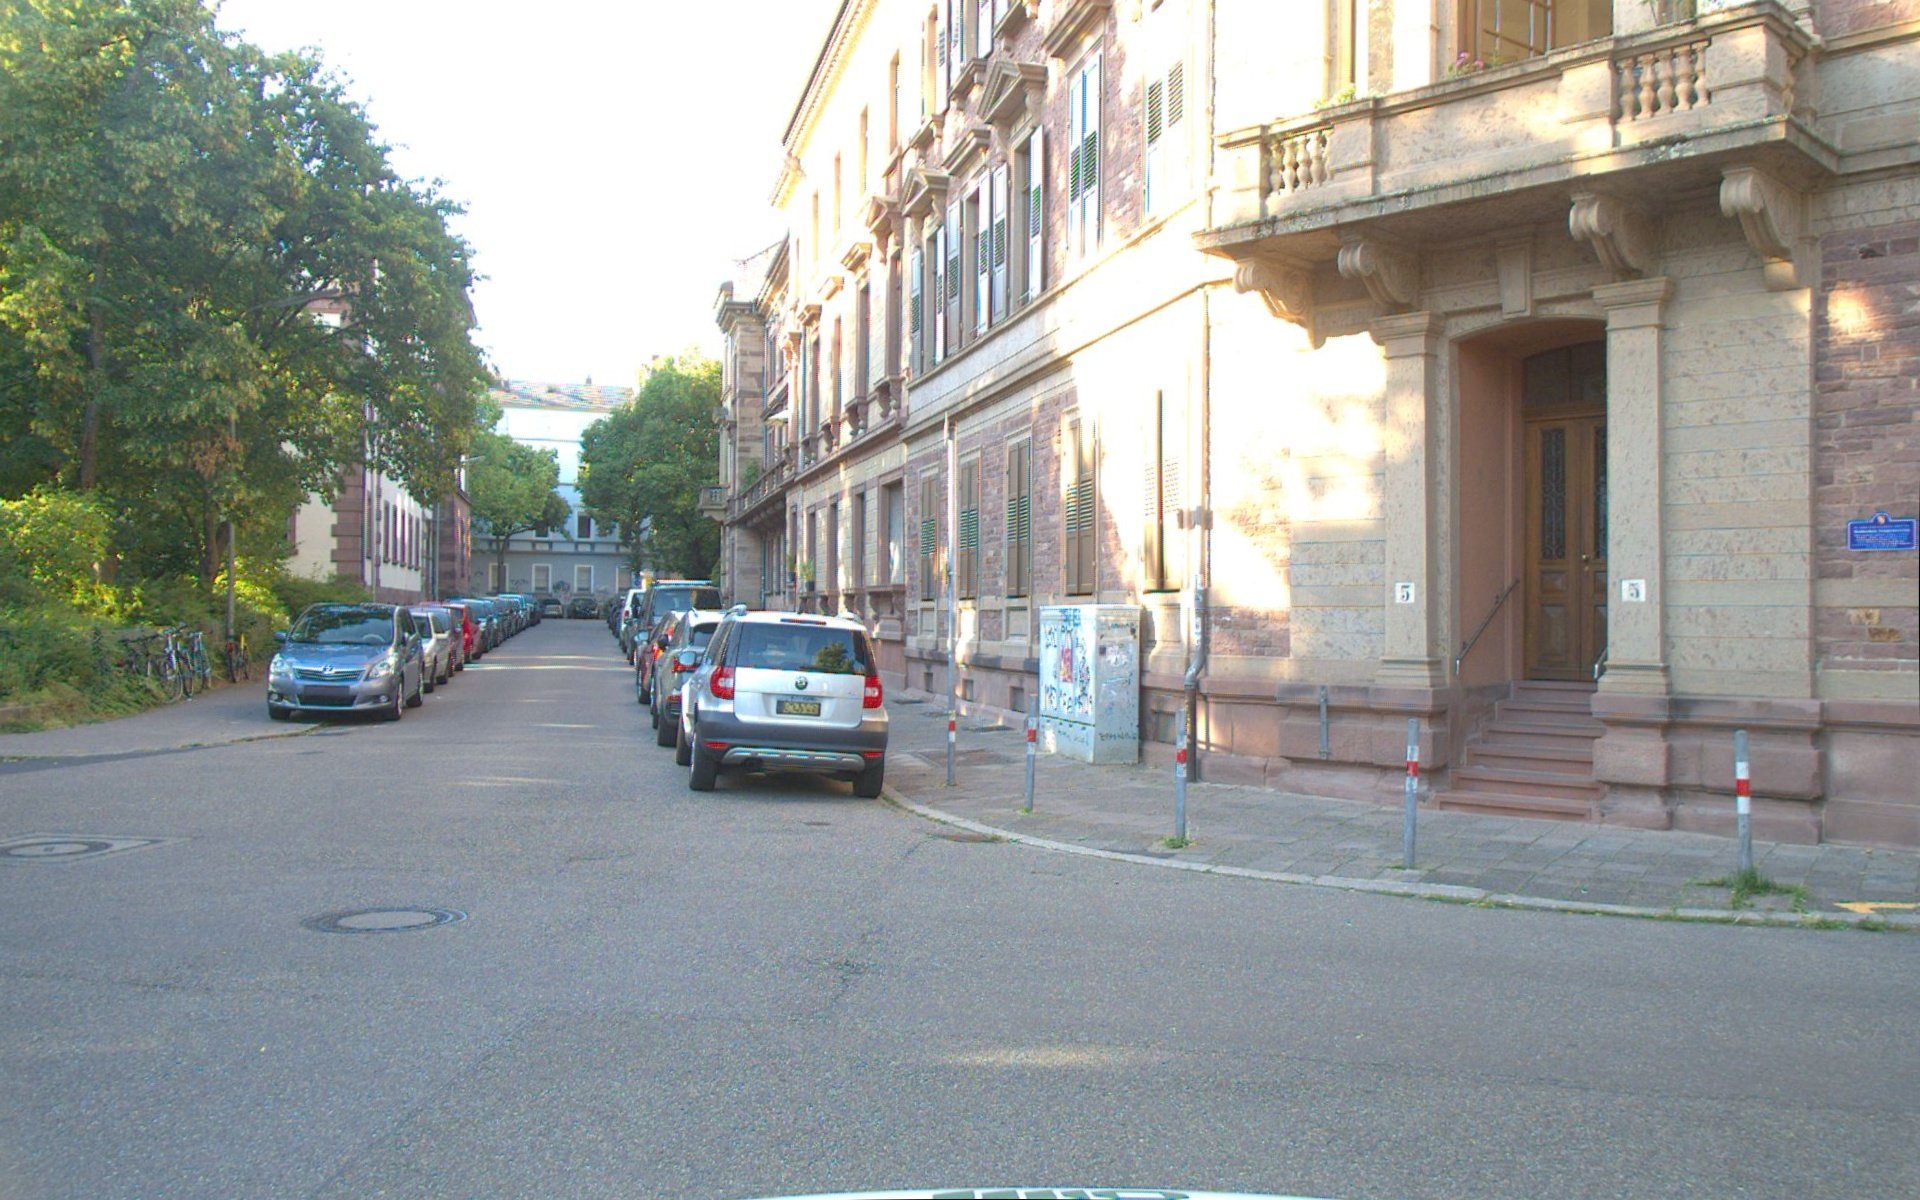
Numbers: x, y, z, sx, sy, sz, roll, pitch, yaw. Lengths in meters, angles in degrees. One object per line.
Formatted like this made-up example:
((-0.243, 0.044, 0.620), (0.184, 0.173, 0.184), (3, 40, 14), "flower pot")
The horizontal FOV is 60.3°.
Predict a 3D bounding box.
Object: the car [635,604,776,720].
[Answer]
((-4.131, 0.931, 26.405), (1.768, 1.642, 3.939), (3, -1, -15), "car")

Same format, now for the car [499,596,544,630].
((-21.062, 0.616, 79.545), (1.794, 1.526, 3.919), (4, -1, -12), "car")

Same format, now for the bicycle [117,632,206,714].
((-11.917, 1.060, 24.762), (0.586, 1.121, 2.619), (0, 0, -12), "bicycle")

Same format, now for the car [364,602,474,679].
((-11.906, 0.864, 36.609), (1.794, 1.504, 3.919), (4, -1, -12), "car")

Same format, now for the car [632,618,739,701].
((-5.283, 1.084, 31.498), (1.766, 1.369, 3.942), (3, -1, -12), "car")

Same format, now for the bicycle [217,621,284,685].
((-13.319, 0.973, 31.106), (0.586, 1.121, 2.620), (0, 0, -11), "bicycle")

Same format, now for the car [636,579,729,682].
((-6.300, 0.663, 37.268), (1.766, 2.109, 3.942), (3, -1, -12), "car")

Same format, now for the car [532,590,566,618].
((-27.834, 0.261, 111.900), (1.963, 1.714, 3.979), (2, -2, -18), "car")

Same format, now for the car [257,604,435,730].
((-9.077, 0.933, 24.781), (1.794, 1.643, 4.278), (4, -1, -12), "car")

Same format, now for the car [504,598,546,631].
((-22.175, 0.718, 84.506), (1.794, 1.526, 3.919), (4, -1, -12), "car")

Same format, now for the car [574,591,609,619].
((-25.224, 0.355, 113.096), (1.963, 1.714, 3.979), (2, -2, -18), "car")

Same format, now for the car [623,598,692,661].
((-8.763, 0.821, 47.705), (1.766, 1.651, 3.942), (3, -1, -12), "car")

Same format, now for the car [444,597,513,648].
((-15.767, 0.730, 54.334), (1.794, 1.526, 3.919), (4, -1, -12), "car")

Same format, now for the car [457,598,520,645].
((-16.695, 0.743, 58.695), (1.794, 1.526, 3.919), (4, -1, -12), "car")

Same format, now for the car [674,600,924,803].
((-1.735, 0.920, 16.472), (1.883, 1.686, 4.172), (4, -1, -13), "car")

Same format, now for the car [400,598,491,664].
((-13.223, 0.770, 42.720), (1.794, 1.526, 3.919), (4, -1, -12), "car")

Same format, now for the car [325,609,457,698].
((-10.645, 0.968, 31.201), (1.794, 1.472, 3.919), (4, -1, -12), "car")

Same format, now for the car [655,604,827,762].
((-2.943, 0.979, 21.443), (1.794, 1.753, 4.529), (4, -1, -12), "car")

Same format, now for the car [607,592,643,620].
((-23.060, 0.423, 113.861), (1.963, 1.714, 3.979), (2, -2, -18), "car")

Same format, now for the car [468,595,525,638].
((-18.046, 0.637, 64.550), (1.794, 1.526, 3.919), (4, -1, -12), "car")

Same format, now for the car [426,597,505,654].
((-14.497, 0.733, 48.651), (1.794, 1.526, 3.919), (4, -1, -12), "car")

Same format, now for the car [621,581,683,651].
((-10.043, 0.521, 53.717), (1.766, 2.109, 3.942), (3, -1, -12), "car")

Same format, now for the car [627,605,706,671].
((-7.603, 0.946, 42.637), (1.766, 1.550, 3.942), (3, -1, -12), "car")

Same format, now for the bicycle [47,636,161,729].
((-11.391, 1.066, 22.101), (0.586, 1.121, 2.620), (0, 0, -10), "bicycle")
